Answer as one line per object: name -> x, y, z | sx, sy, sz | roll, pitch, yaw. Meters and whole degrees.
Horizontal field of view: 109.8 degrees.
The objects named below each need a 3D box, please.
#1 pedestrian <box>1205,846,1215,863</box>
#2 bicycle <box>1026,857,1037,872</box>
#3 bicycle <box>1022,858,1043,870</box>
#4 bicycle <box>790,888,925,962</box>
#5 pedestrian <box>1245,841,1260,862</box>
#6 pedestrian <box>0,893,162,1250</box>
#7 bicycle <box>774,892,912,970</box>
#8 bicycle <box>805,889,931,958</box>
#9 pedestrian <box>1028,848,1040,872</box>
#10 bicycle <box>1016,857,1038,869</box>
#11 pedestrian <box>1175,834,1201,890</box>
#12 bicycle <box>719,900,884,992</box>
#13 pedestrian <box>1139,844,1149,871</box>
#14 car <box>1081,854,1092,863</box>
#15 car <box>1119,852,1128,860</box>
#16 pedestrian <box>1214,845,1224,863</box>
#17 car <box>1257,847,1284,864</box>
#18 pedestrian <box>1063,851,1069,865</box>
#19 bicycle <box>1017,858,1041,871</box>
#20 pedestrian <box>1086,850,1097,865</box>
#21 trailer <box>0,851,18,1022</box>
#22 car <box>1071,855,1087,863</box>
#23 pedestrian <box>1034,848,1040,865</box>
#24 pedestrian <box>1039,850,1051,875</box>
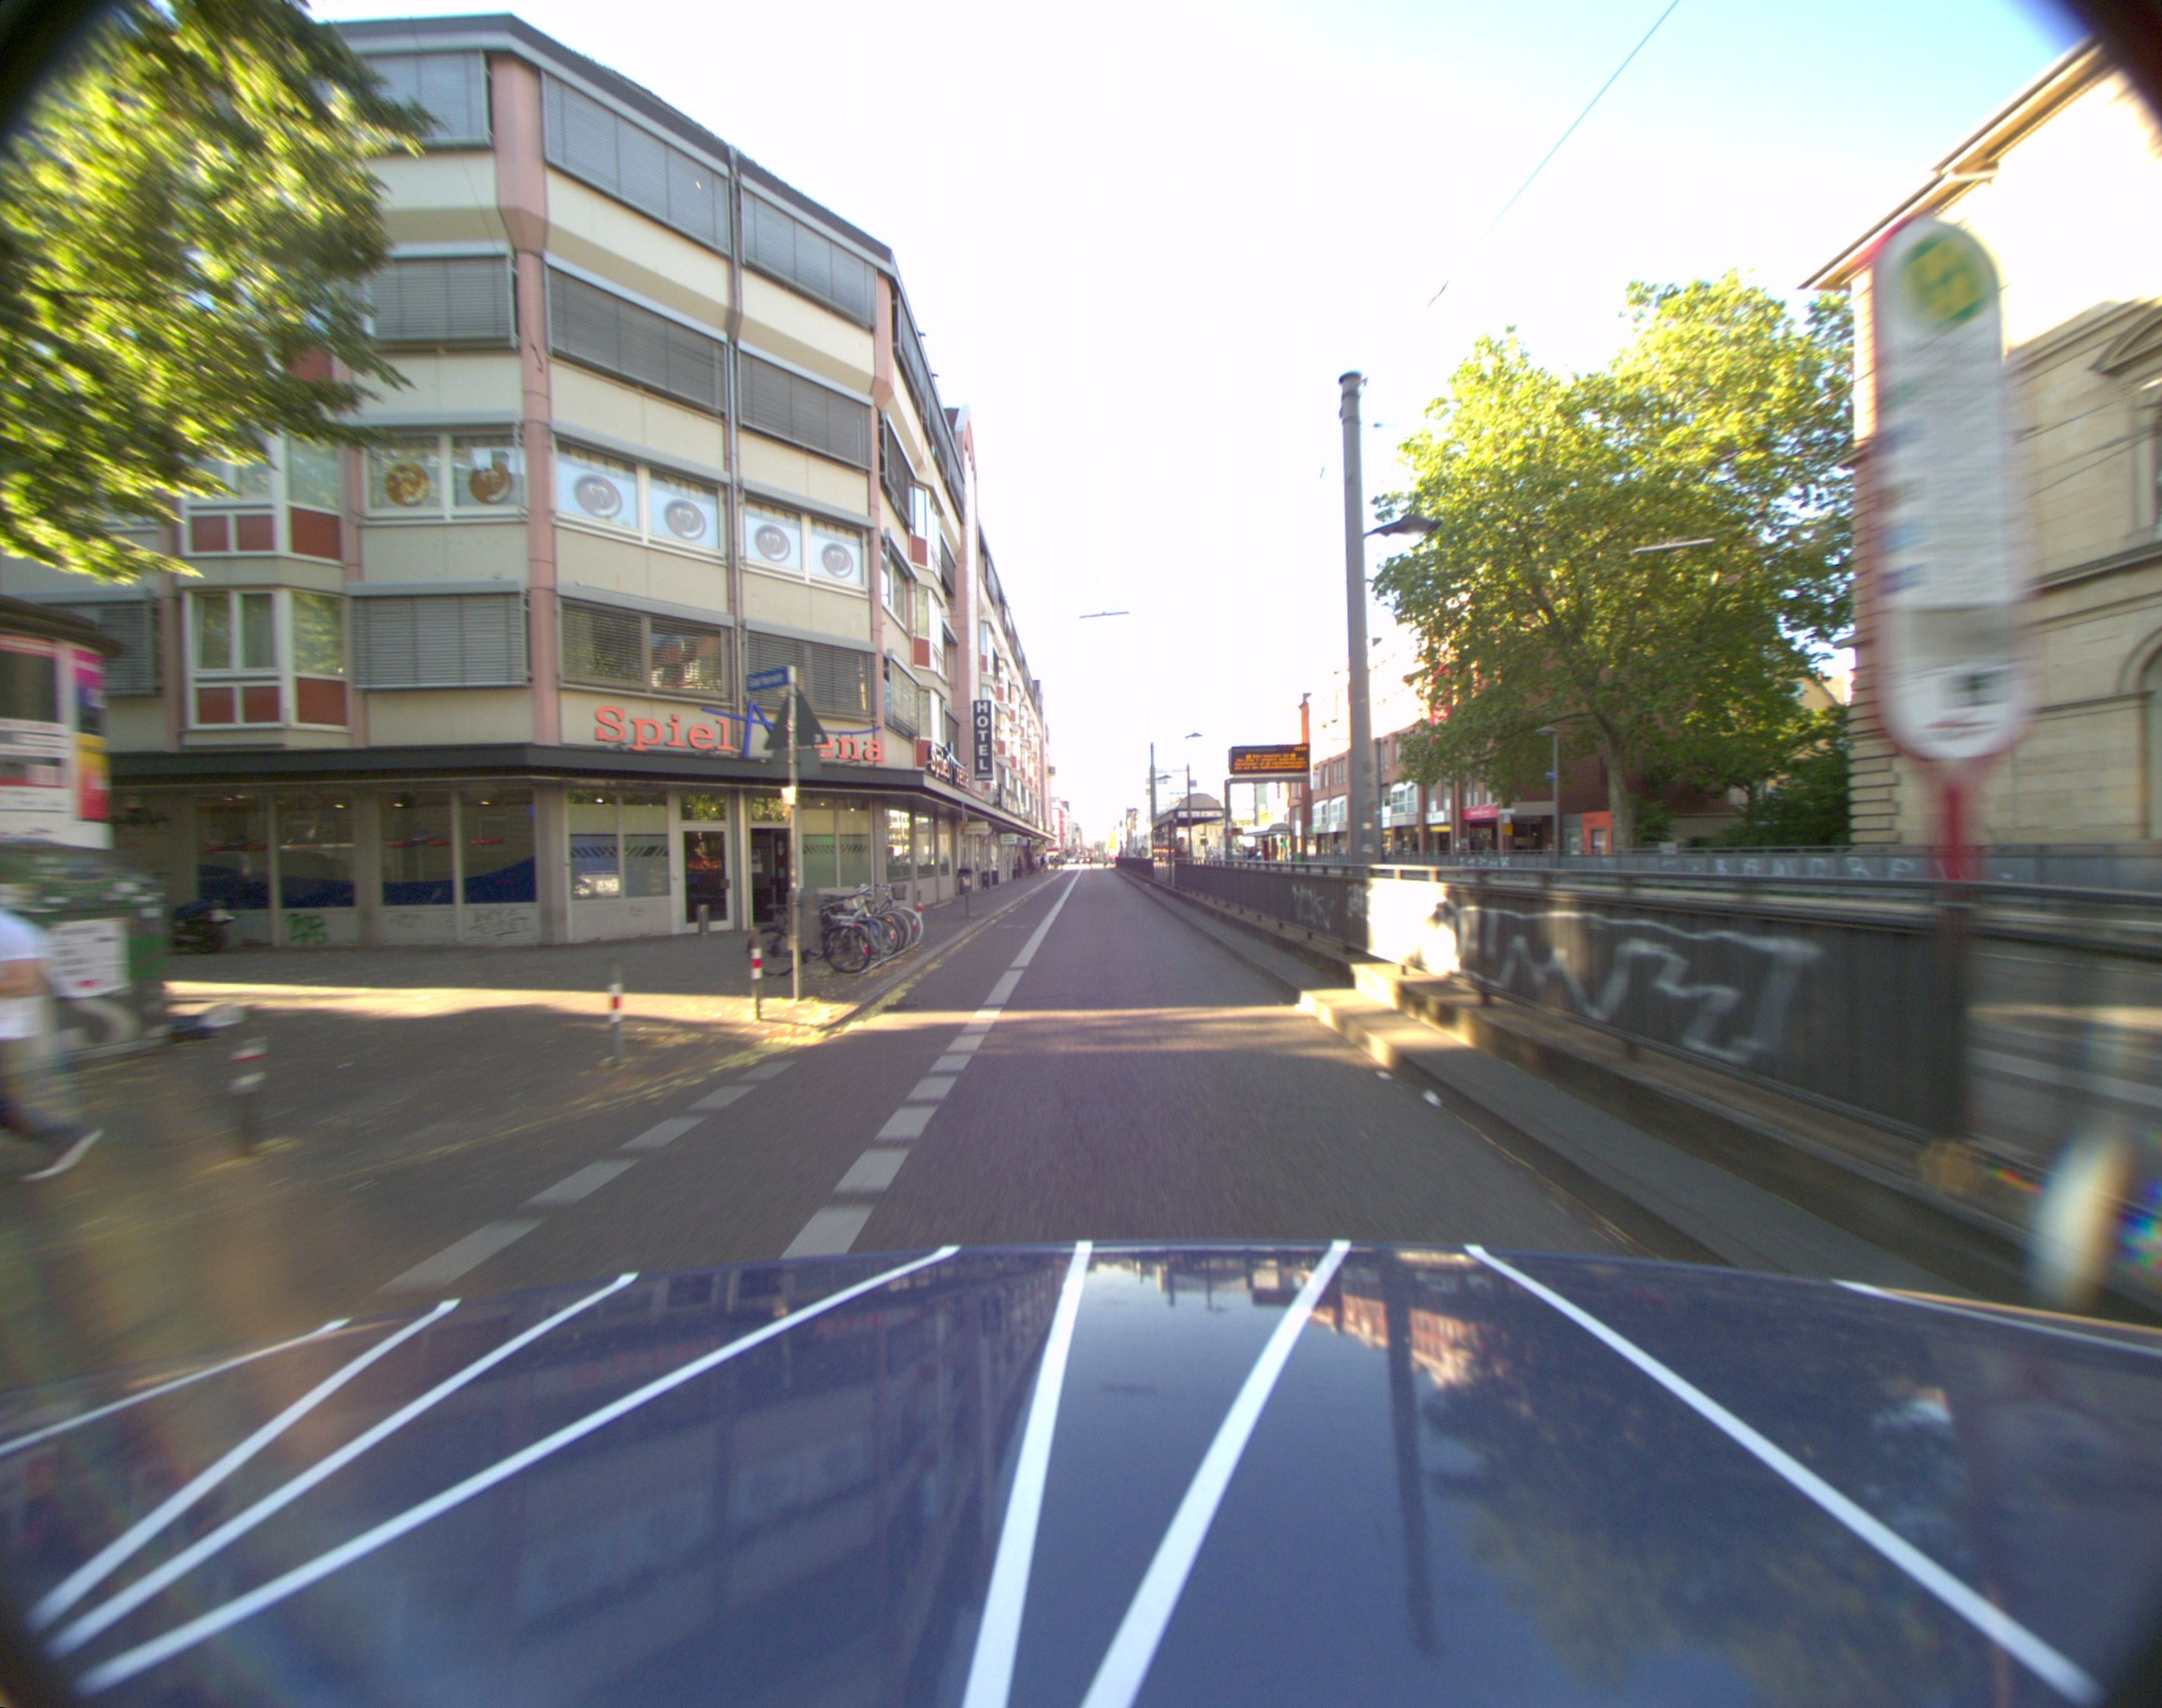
pedestrian -> 13.191, 0.056, 77.943 | 0.860, 1.757, 0.811 | -4, 1, 8
bicycle -> -3.814, 0.819, 58.642 | 0.659, 1.061, 1.794 | 3, 1, 0
bicycle -> -4.229, 0.845, 65.842 | 1.734, 0.968, 0.506 | 1, 1, 5
bicycle -> -3.589, 1.130, 12.288 | 1.975, 1.098, 0.614 | -1, 1, -2
pedestrian -> 13.571, -0.191, 60.090 | 0.913, 1.652, 0.967 | -2, 1, 0
pedestrian -> -5.477, 1.041, 3.674 | 0.785, 1.655, 1.033 | -2, -1, 2
bicycle -> -3.590, 1.156, 11.559 | 1.838, 1.048, 0.718 | -2, 1, -2
bicycle -> -3.597, 1.167, 12.946 | 1.918, 1.041, 0.681 | -2, 1, -2
pedestrian -> -3.799, 0.483, 61.114 | 0.917, 1.856, 0.779 | 0, 1, -2
bicycle -> -4.761, 0.806, 67.616 | 1.929, 1.054, 0.576 | 0, 1, -2
pedestrian -> 3.330, 0.243, 23.674 | 0.624, 1.702, 0.850 | -2, 1, 0
bicycle -> -3.593, 1.171, 9.884 | 1.838, 1.048, 0.710 | -2, 1, -2
pedestrian -> 4.249, 0.228, 51.358 | 0.584, 1.781, 0.606 | -2, 1, -1
car -> 1.110, 0.815, 146.107 | 1.971, 1.664, 4.875 | -3, 0, 1
car -> 13.231, 0.676, 237.574 | 2.540, 2.440, 5.424 | -3, 0, 6
pedestrian -> 14.108, -0.020, 77.797 | 0.860, 1.757, 0.811 | -4, 1, 9
car -> 19.810, 0.164, 79.638 | 1.914, 1.585, 4.289 | 0, 2, 1
pedestrian -> -1.789, 0.426, 89.711 | 0.637, 1.652, 0.768 | 2, 1, -8
bicycle -> -4.417, 0.871, 64.484 | 1.929, 1.054, 0.576 | 0, 1, 0
pedestrian -> 1.247, 0.424, 89.520 | 0.812, 1.793, 0.859 | -5, 1, -28
trailer -> -12.937, 0.941, 7.022 | 1.577, 1.873, 3.188 | 0, 2, 12
car -> -0.436, 1.061, 158.825 | 1.974, 1.664, 4.869 | -3, 0, -16
pedestrian -> -4.160, 0.216, 72.042 | 0.385, 1.586, 0.408 | 1, 2, 21
pedestrian -> -2.634, 0.615, 55.531 | 0.800, 1.713, 1.061 | 1, 2, 2
